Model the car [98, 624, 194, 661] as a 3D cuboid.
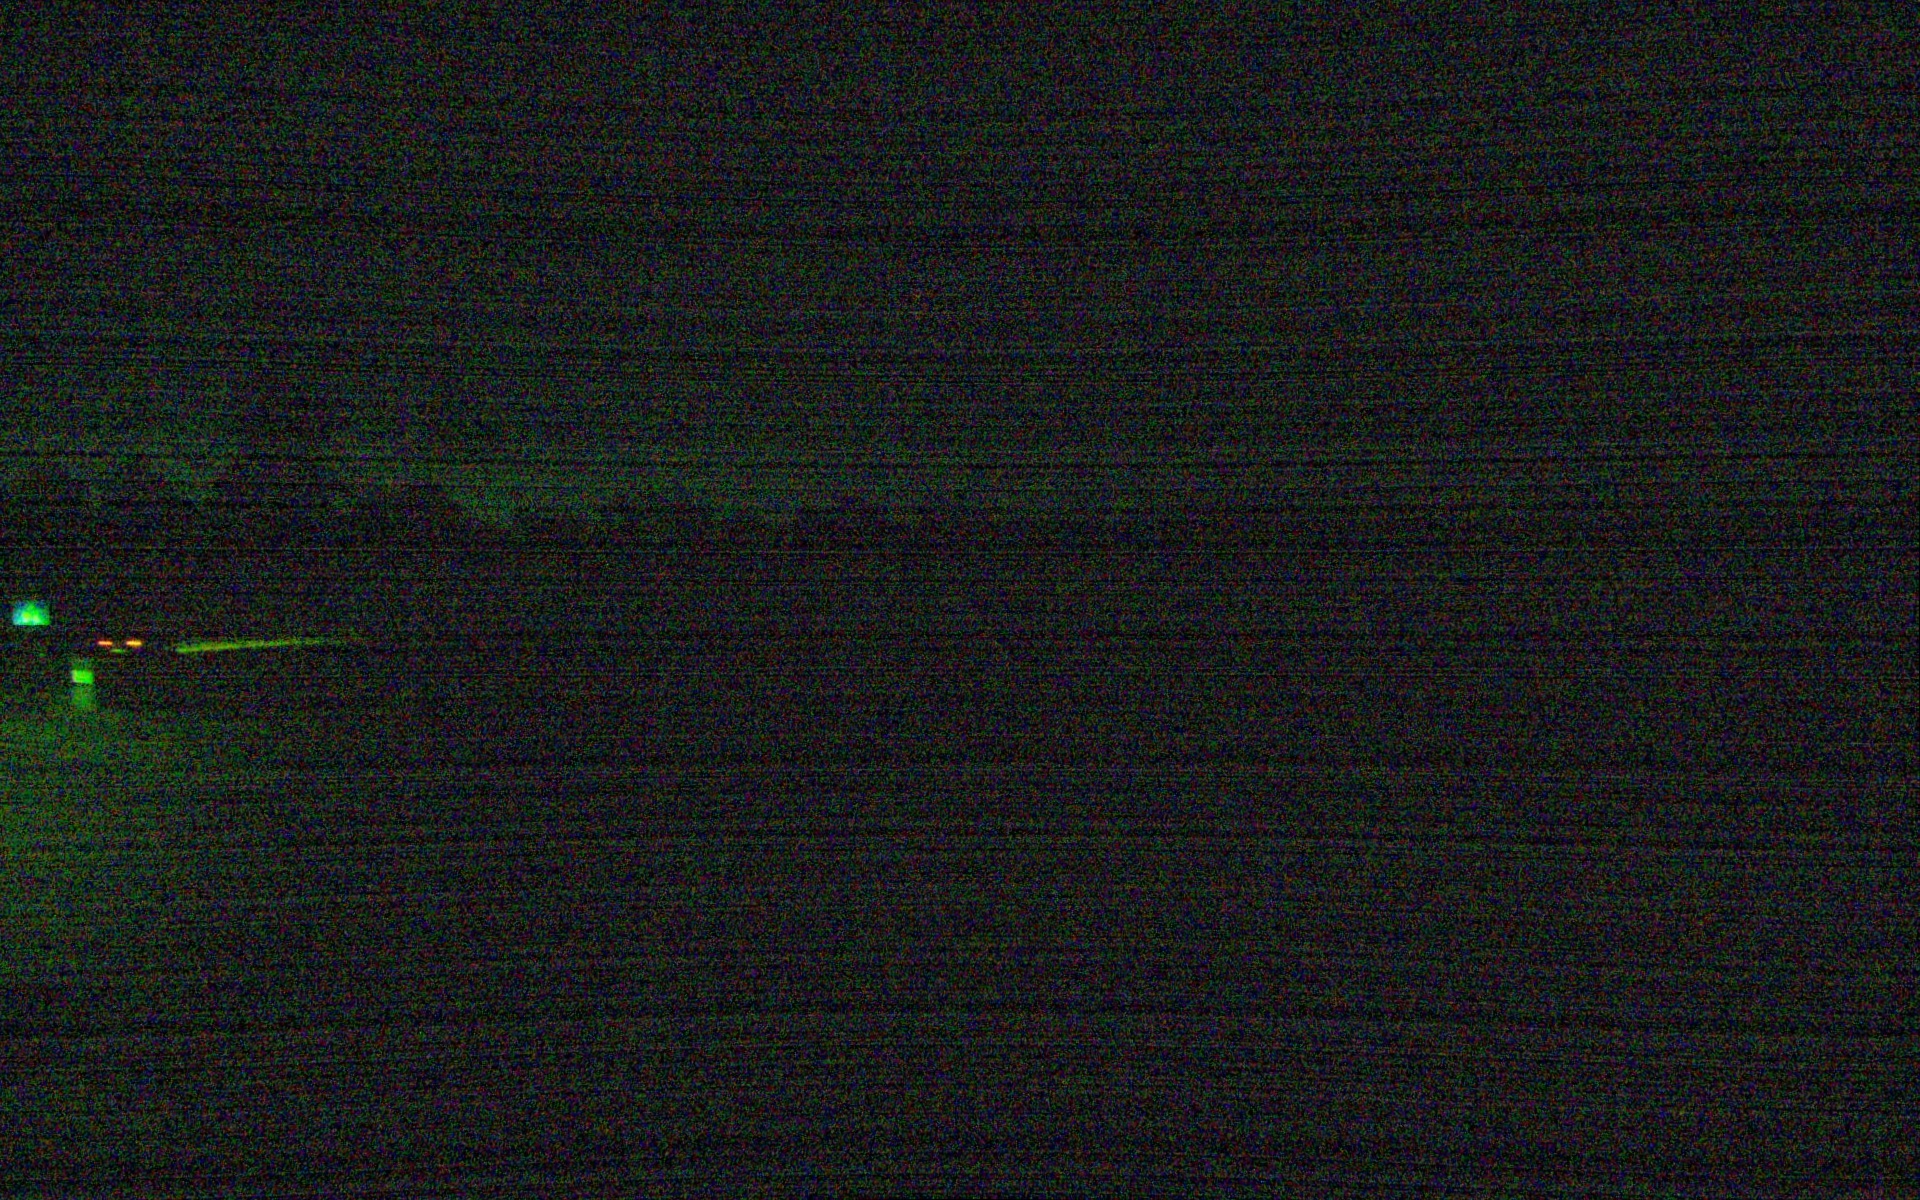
[{"bbox_3d":[-43.874,2.253,54.092,1.901,1.839,4.264,0,-1,-5],"label":"car"}]
